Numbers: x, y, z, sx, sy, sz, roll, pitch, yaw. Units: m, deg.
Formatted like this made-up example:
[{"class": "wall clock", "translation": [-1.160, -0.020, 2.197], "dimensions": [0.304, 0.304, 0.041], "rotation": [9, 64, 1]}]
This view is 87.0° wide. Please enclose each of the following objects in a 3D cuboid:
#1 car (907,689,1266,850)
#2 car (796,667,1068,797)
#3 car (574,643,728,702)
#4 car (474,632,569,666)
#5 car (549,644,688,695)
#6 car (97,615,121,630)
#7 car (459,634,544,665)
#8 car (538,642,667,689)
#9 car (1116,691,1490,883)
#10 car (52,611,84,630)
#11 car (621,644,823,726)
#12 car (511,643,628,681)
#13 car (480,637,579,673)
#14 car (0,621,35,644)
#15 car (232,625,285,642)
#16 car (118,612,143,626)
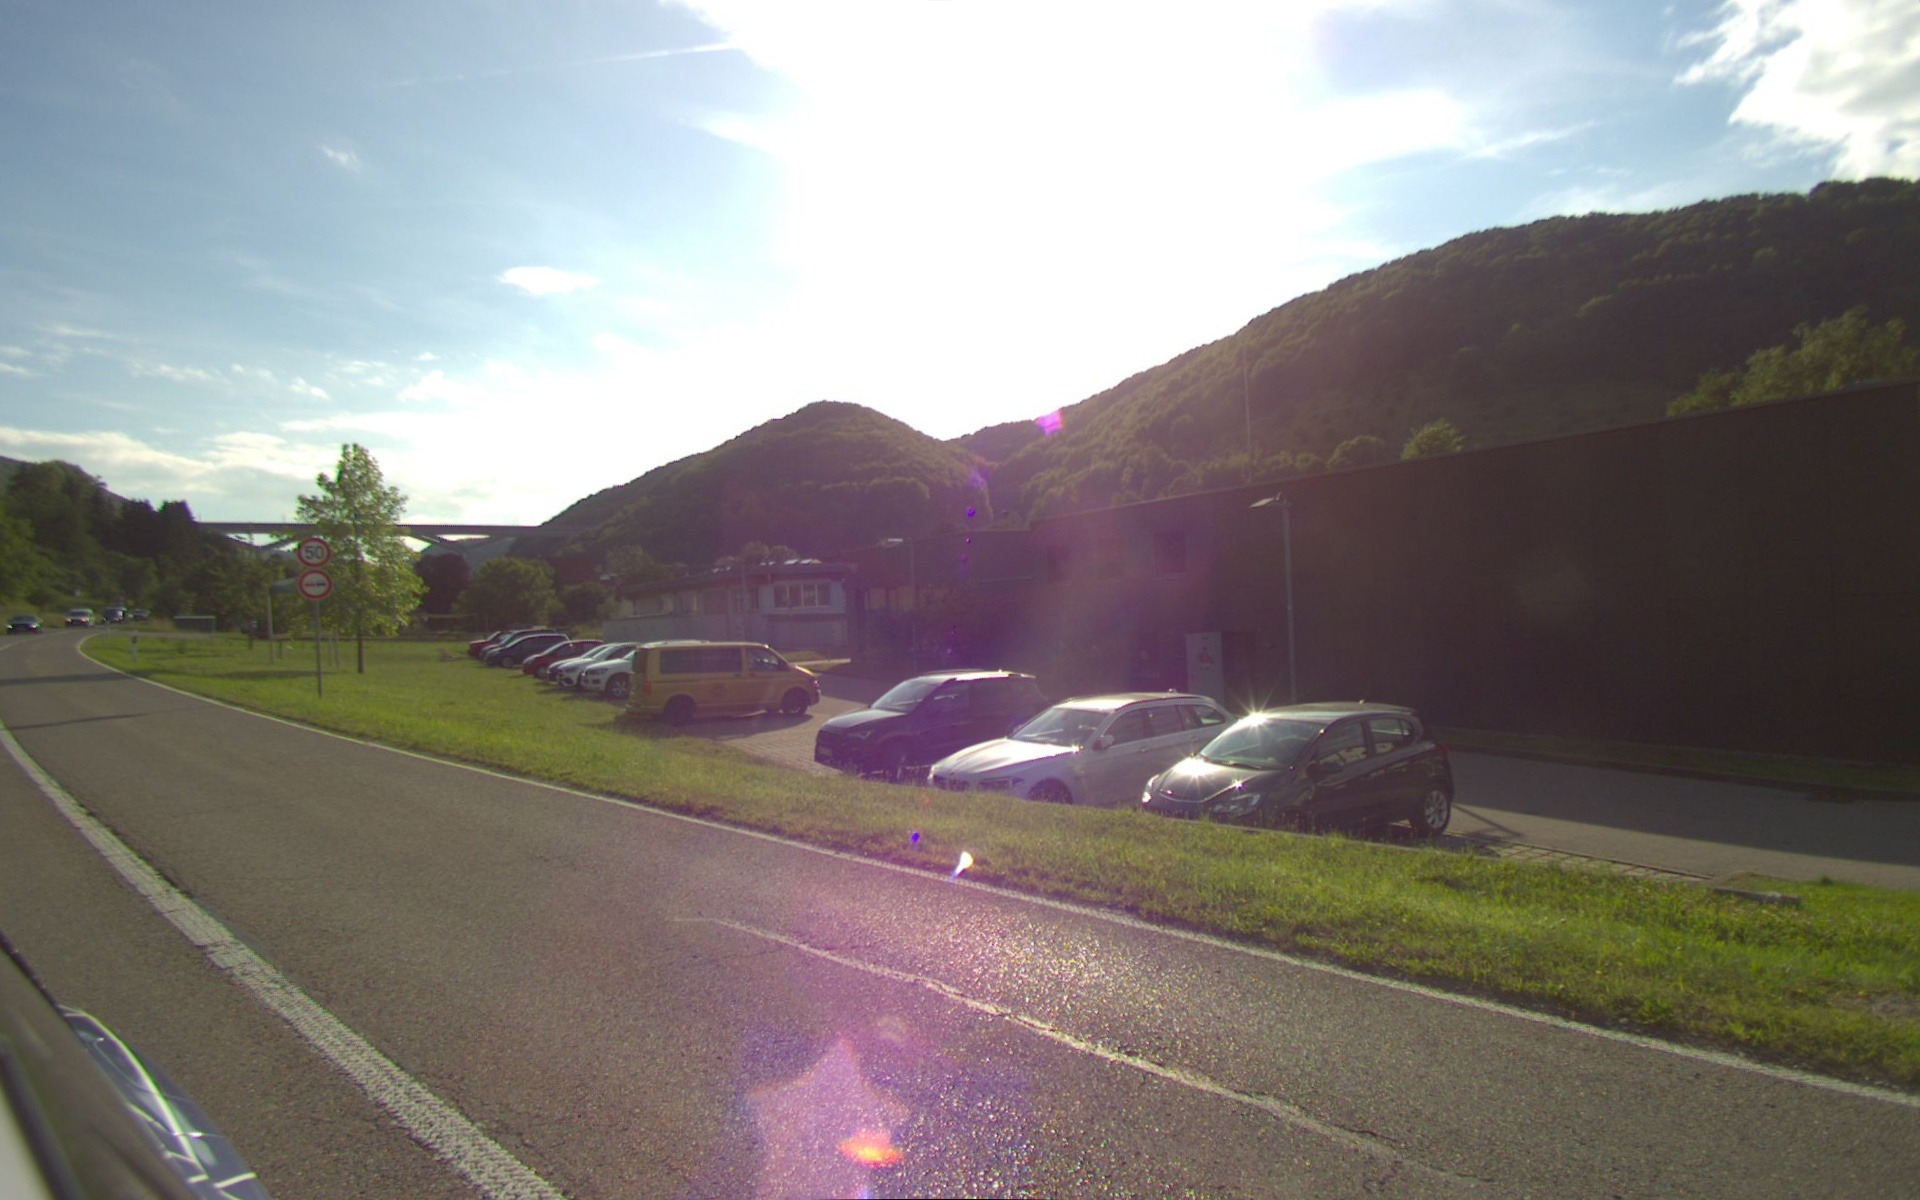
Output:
[{"class": "car", "translation": [1.756, 2.069, 13.364], "dimensions": [4.577, 1.508, 1.918], "rotation": [1, -2, -34]}, {"class": "car", "translation": [-0.412, 2.109, 17.189], "dimensions": [4.226, 1.650, 1.917], "rotation": [-2, -1, -35]}, {"class": "car", "translation": [-10.057, 2.306, 33.001], "dimensions": [4.477, 1.714, 2.006], "rotation": [0, -2, -30]}, {"class": "car", "translation": [-24.179, 2.662, 55.885], "dimensions": [4.595, 1.776, 2.006], "rotation": [0, -2, -31]}, {"class": "car", "translation": [-12.079, 2.409, 35.872], "dimensions": [4.370, 1.599, 2.006], "rotation": [0, -2, -30]}, {"class": "car", "translation": [-98.171, 2.563, 116.797], "dimensions": [1.651, 1.659, 3.355], "rotation": [-1, -1, -31]}, {"class": "car", "translation": [-27.285, 2.910, 60.220], "dimensions": [4.371, 1.733, 2.006], "rotation": [0, -2, -31]}, {"class": "car", "translation": [-13.705, 2.465, 38.840], "dimensions": [4.371, 1.595, 2.006], "rotation": [0, -2, -32]}, {"class": "car", "translation": [3.880, 1.919, 11.328], "dimensions": [3.932, 1.546, 1.839], "rotation": [0, -2, -31]}, {"class": "car", "translation": [-87.033, 2.009, 98.813], "dimensions": [1.770, 1.749, 4.294], "rotation": [-1, -1, -34]}, {"class": "car", "translation": [-5.999, 2.067, 25.634], "dimensions": [4.583, 1.827, 2.006], "rotation": [0, -2, -30]}, {"class": "car", "translation": [-16.583, 2.593, 42.989], "dimensions": [4.370, 1.463, 2.006], "rotation": [0, -2, -30]}, {"class": "car", "translation": [-21.933, 2.774, 51.613], "dimensions": [4.371, 1.595, 2.006], "rotation": [-1, -1, -31]}, {"class": "car", "translation": [-71.553, 2.458, 76.601], "dimensions": [1.883, 1.698, 4.009], "rotation": [0, -2, -37]}, {"class": "car", "translation": [-66.142, 3.161, 95.475], "dimensions": [1.970, 1.539, 4.777], "rotation": [-1, -1, -4]}, {"class": "car", "translation": [-106.747, 2.473, 130.255], "dimensions": [1.966, 1.730, 4.011], "rotation": [-1, -1, -32]}]
